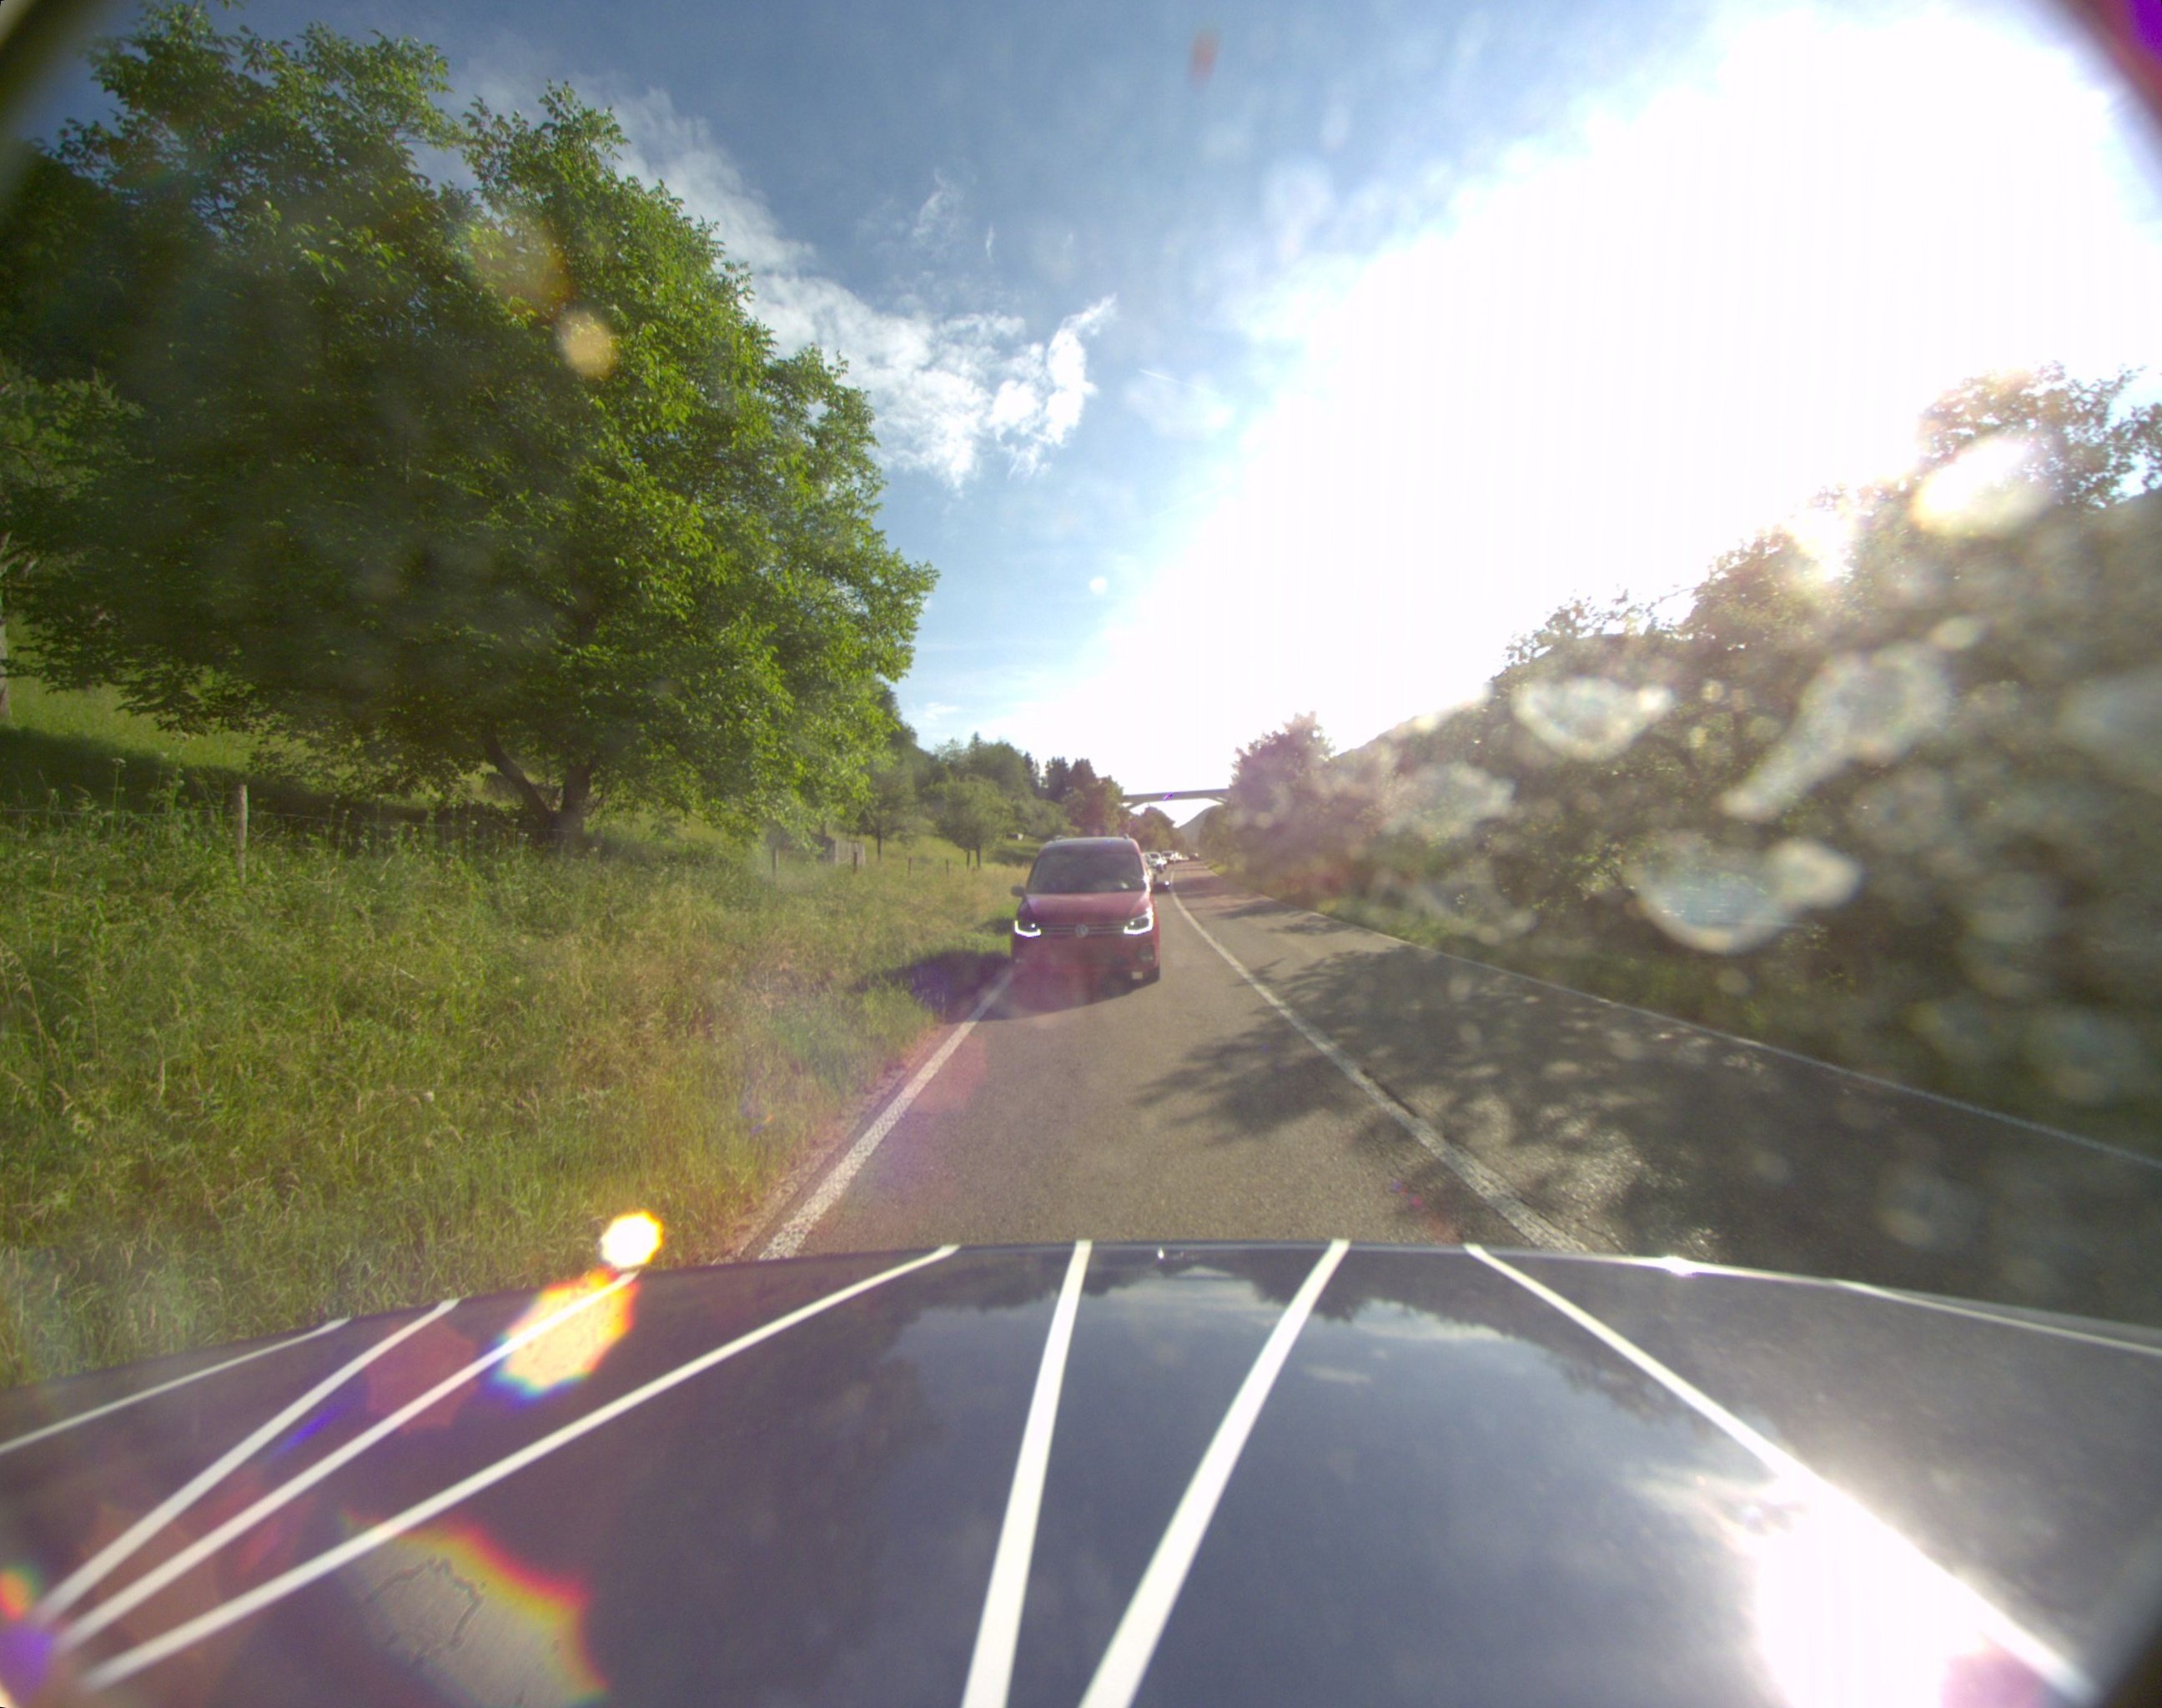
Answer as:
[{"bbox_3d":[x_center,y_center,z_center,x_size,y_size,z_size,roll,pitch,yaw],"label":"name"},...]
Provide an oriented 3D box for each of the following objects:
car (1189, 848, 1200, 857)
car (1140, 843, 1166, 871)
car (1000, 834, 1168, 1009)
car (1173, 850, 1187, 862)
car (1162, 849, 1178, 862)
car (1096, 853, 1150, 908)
[{"bbox_3d":[21.052,-0.344,141.028,1.817,1.608,3.807,-1,0,6],"label":"car"},{"bbox_3d":[5.533,0.218,58.371,1.914,2.002,4.002,-1,0,6],"label":"car"},{"bbox_3d":[0.084,0.723,10.215,1.772,1.855,3.875,-2,0,1],"label":"car"},{"bbox_3d":[14.546,0.290,111.541,1.817,1.608,4.002,-1,0,8],"label":"car"},{"bbox_3d":[11.568,0.210,98.538,1.817,1.608,4.003,-1,0,10],"label":"car"},{"bbox_3d":[1.370,0.781,24.056,1.570,1.575,3.527,-1,0,4],"label":"car"}]
